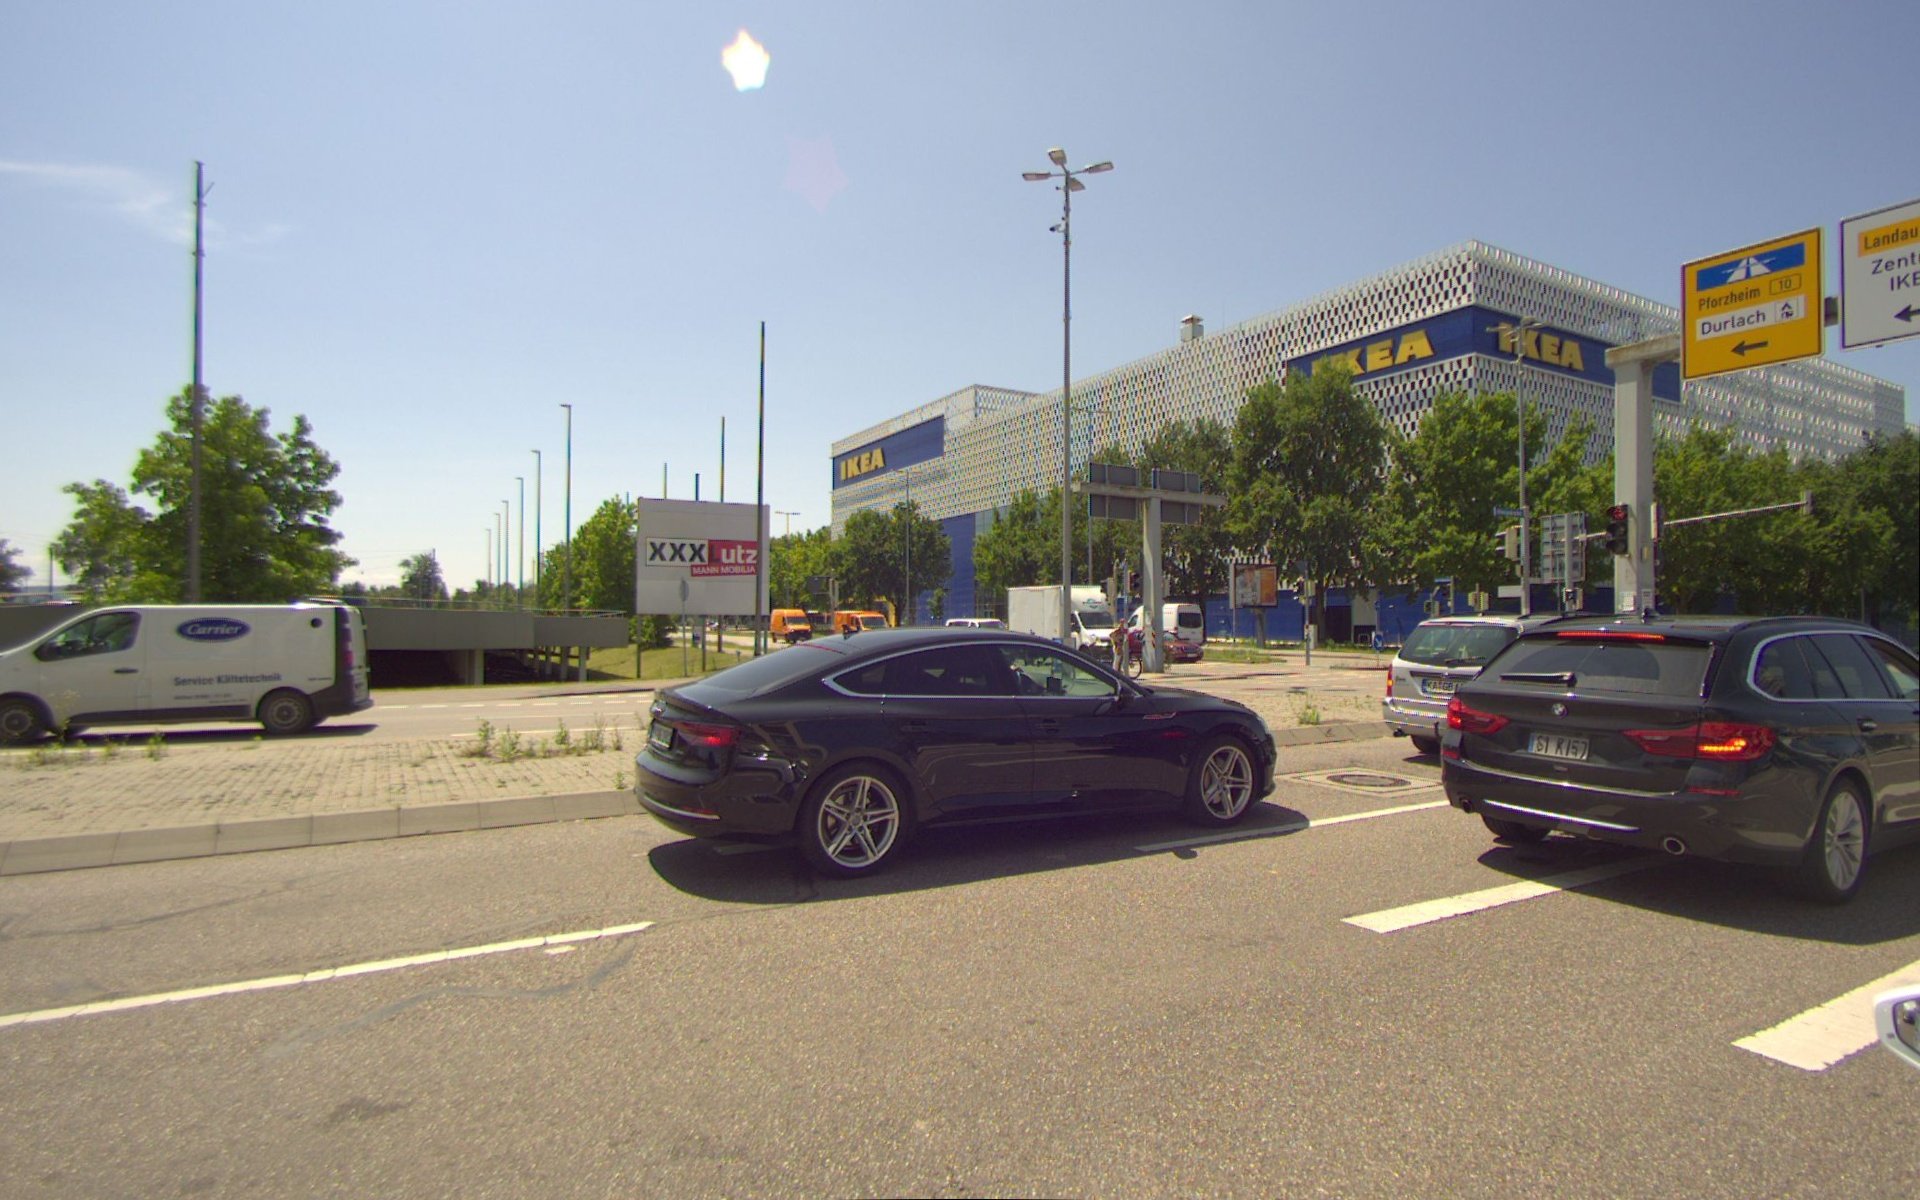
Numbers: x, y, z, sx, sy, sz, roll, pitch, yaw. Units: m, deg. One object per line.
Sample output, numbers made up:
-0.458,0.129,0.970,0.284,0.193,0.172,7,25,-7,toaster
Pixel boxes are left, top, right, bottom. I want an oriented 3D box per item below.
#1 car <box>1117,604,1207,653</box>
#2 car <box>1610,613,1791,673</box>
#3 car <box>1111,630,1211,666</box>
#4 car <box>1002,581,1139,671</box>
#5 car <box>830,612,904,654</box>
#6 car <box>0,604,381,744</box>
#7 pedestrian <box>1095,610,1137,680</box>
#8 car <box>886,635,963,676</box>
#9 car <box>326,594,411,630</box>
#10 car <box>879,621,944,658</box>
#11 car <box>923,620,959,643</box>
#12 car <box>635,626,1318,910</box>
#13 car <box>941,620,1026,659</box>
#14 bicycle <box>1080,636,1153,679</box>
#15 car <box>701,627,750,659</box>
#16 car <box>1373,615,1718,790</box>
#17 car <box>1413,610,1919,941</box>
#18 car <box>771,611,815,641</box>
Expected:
11.135,1.535,55.767,1.974,2.601,5.472,1,-1,-26,car
22.196,1.239,30.315,1.689,1.673,4.190,0,-1,-20,car
8.268,1.967,41.694,1.754,1.360,4.265,0,-2,-29,car
4.543,1.094,42.767,2.156,3.532,6.873,-1,-1,-29,car
-6.098,2.134,64.839,2.542,2.568,6.585,1,-2,-27,car
-11.543,1.057,15.029,4.773,1.874,1.826,1,-3,-24,car
4.680,1.342,30.115,0.856,2.040,0.898,1,-2,-36,pedestrian
-1.490,2.176,40.052,1.904,1.528,3.981,0,-2,-21,car
-32.352,0.685,54.977,3.957,1.933,1.982,1,-2,-33,car
-2.861,2.257,57.904,1.975,2.040,4.680,1,-2,-28,car
-1.795,2.915,92.080,1.972,2.040,3.978,0,-2,-23,car
0.227,0.896,6.943,4.478,1.409,1.740,1,-1,-29,car
1.092,1.938,49.991,1.974,1.835,5.436,1,-2,-26,car
4.682,1.709,30.118,0.987,1.229,2.078,1,-2,-36,bicycle
-15.425,2.814,66.061,1.816,2.040,3.962,1,-2,-35,car
6.304,0.929,10.670,3.962,1.514,1.785,1,-1,-37,car
5.131,0.816,6.511,4.571,1.485,1.790,1,0,-32,car
-13.346,2.095,80.061,1.973,2.318,5.846,1,-2,-25,car
